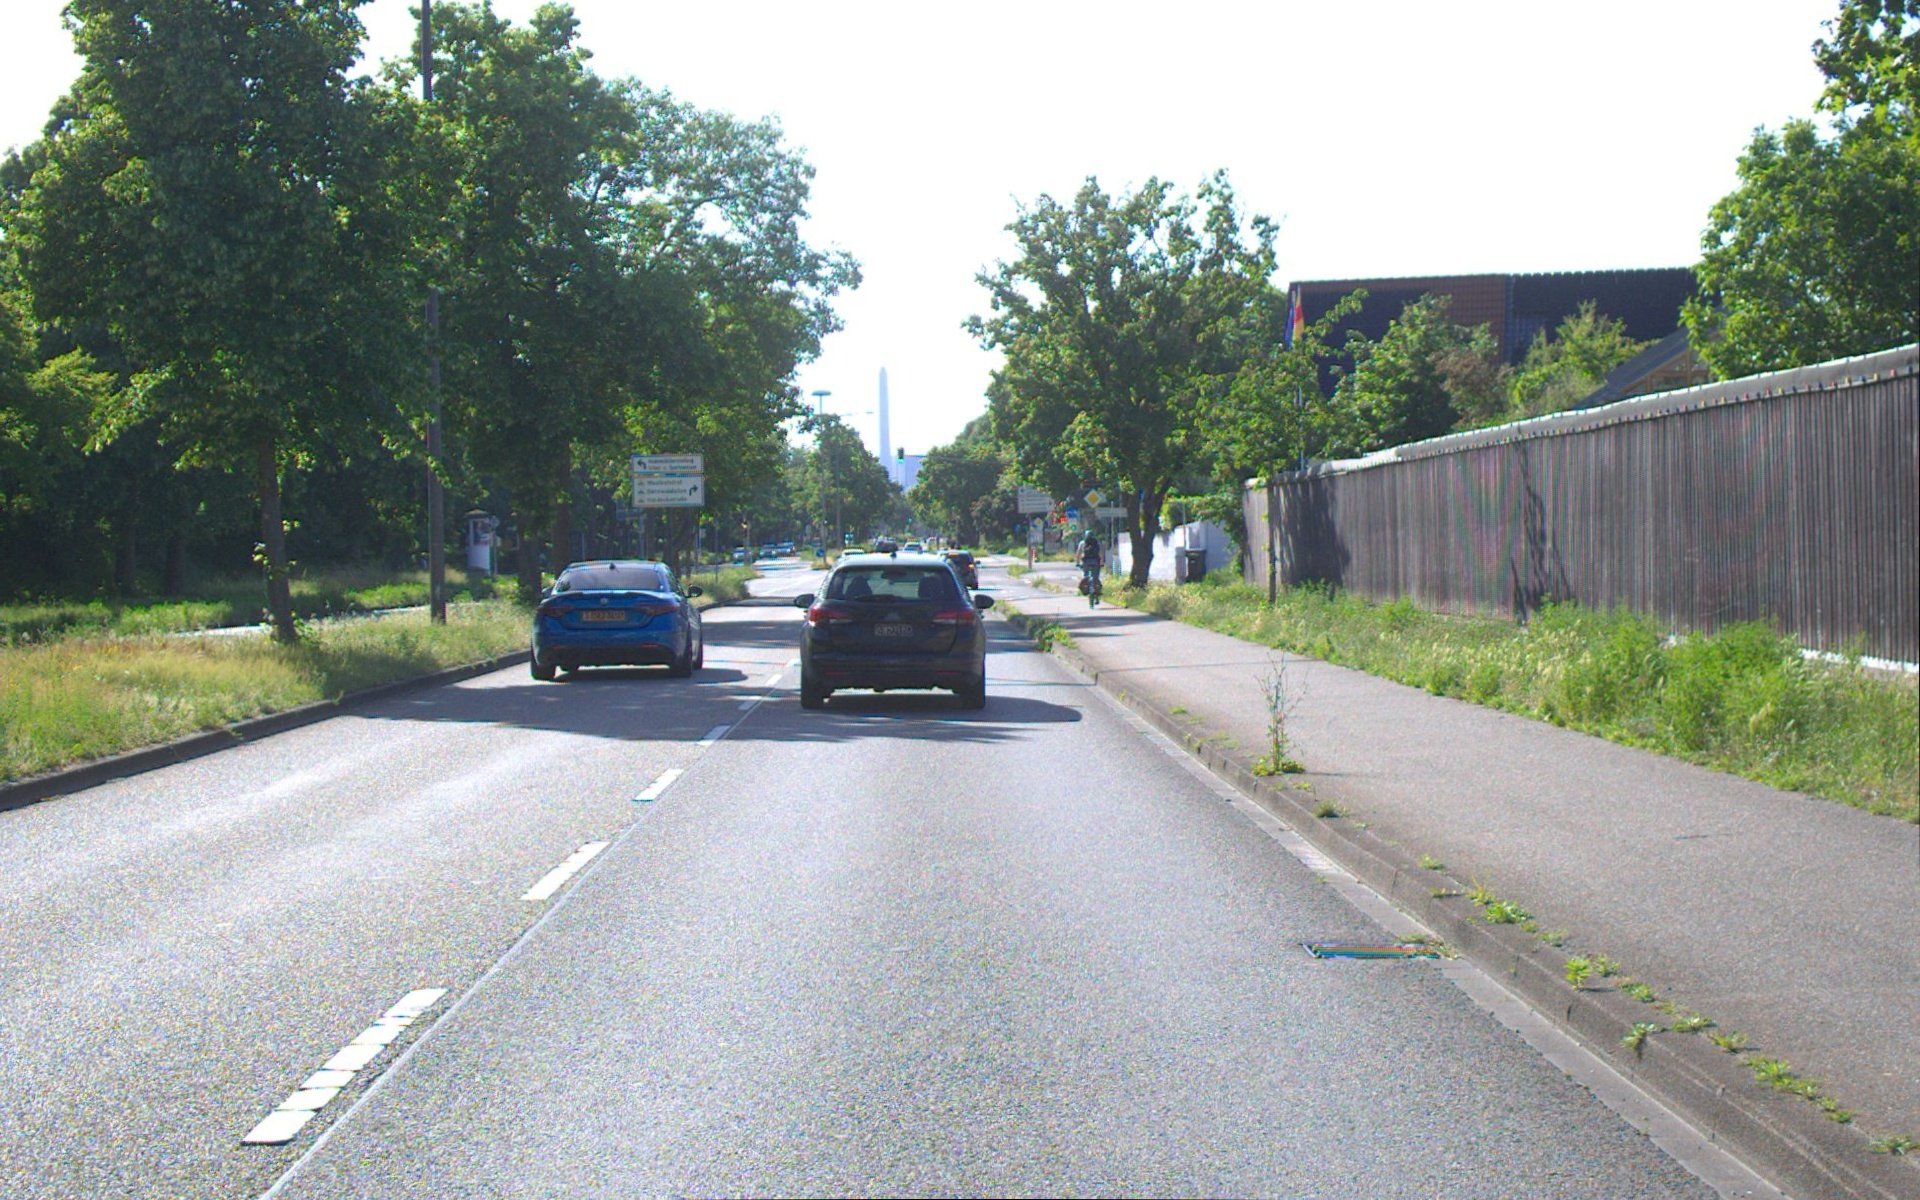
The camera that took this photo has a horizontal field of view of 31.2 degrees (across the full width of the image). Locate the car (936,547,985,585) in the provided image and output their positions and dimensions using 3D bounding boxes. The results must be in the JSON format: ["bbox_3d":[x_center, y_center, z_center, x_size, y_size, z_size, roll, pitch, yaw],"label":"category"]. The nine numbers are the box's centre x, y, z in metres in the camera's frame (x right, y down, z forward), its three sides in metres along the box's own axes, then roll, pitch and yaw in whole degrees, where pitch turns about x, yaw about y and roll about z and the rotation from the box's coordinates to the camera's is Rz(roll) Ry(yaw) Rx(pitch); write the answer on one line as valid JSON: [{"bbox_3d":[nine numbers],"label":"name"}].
[{"bbox_3d":[0.029,-1.328,133.510,1.732,1.454,3.840,-1,1,3],"label":"car"}]

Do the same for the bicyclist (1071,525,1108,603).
[{"bbox_3d":[2.815,-0.793,74.750,0.630,1.627,0.981,-4,1,6],"label":"bicyclist"}]

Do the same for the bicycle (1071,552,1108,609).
[{"bbox_3d":[2.830,-0.433,74.780,0.574,1.151,2.140,-4,1,6],"label":"bicycle"}]

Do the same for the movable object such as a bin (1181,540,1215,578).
[{"bbox_3d":[7.851,-1.334,113.351,1.002,1.201,1.062,-3,0,7],"label":"movable object such as a bin"}]

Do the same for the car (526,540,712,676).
[{"bbox_3d":[-4.115,0.075,42.048,1.888,1.547,4.000,-1,0,-1],"label":"car"}]

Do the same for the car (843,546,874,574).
[{"bbox_3d":[-5.963,-2.346,202.138,1.824,1.609,3.840,0,1,-1],"label":"car"}]

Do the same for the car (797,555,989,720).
[{"bbox_3d":[-0.638,0.329,33.550,1.755,1.504,3.809,0,0,-1],"label":"car"}]

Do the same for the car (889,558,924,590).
[{"bbox_3d":[-2.726,-1.317,175.459,1.732,1.579,3.840,1,0,-1],"label":"car"}]
